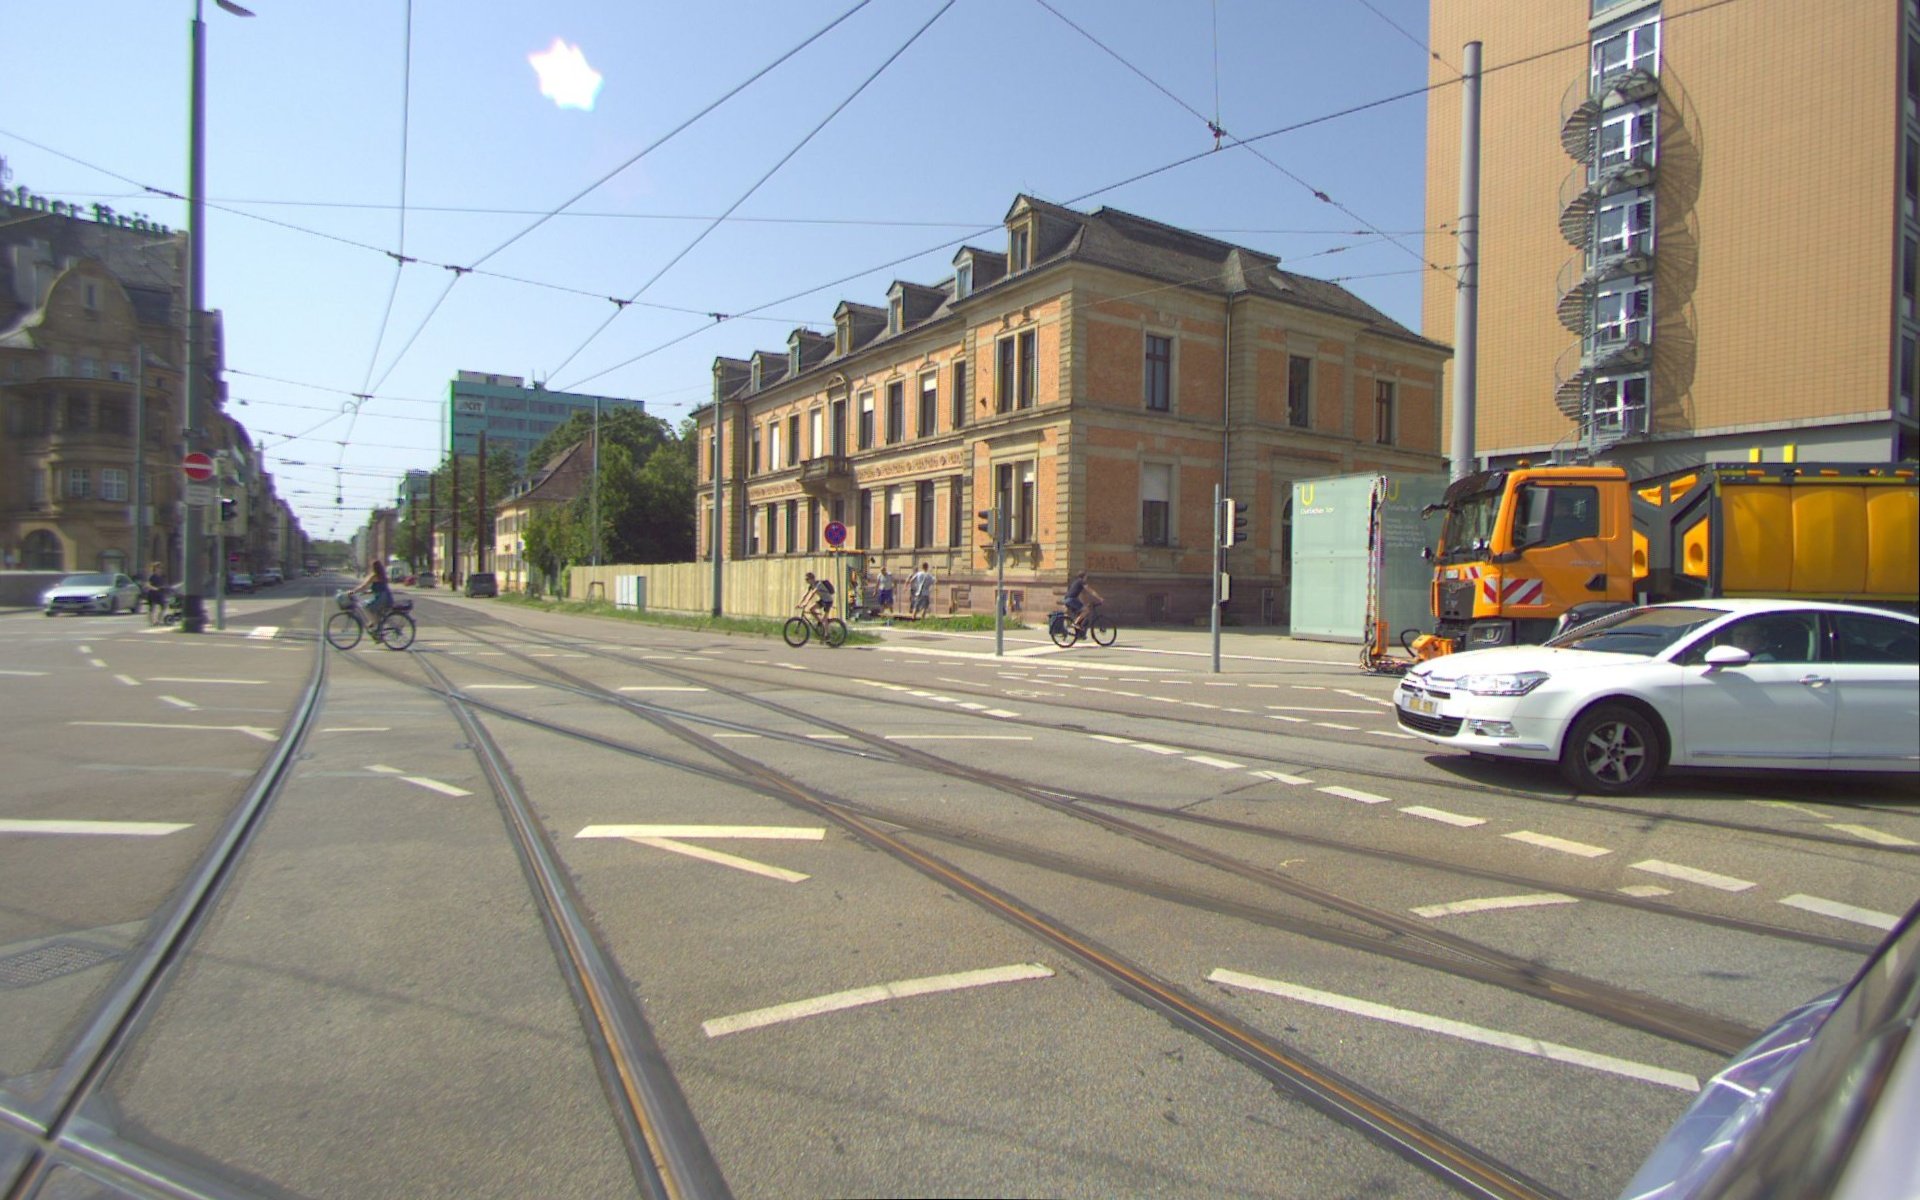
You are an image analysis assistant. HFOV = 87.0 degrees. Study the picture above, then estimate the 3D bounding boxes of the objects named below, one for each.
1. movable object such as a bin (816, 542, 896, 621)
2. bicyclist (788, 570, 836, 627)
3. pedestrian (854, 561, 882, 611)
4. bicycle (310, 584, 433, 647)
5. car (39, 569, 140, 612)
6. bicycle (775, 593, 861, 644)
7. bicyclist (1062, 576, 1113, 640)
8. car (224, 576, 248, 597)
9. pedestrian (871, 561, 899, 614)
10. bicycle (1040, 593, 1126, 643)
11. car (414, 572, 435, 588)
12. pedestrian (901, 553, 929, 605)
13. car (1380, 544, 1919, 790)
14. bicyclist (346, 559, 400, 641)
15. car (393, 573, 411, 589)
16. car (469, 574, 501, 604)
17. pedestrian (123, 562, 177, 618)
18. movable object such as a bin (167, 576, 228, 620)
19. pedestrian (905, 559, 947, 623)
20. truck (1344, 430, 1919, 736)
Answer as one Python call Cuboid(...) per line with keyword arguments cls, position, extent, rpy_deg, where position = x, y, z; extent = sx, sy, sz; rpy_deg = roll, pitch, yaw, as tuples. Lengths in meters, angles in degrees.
Cuboid(cls="movable object such as a bin", position=(-3.875, -0.699, 37.026), extent=(1.780, 2.705, 4.465), rpy_deg=(0, 1, -21))
Cuboid(cls="bicyclist", position=(-3.369, -0.043, 22.976), extent=(0.846, 1.249, 1.104), rpy_deg=(0, 1, -20))
Cuboid(cls="pedestrian", position=(-3.120, -0.478, 34.188), extent=(0.679, 1.693, 0.678), rpy_deg=(1, 1, 26))
Cuboid(cls="bicycle", position=(-11.110, 0.292, 19.118), extent=(2.089, 1.125, 0.441), rpy_deg=(1, 1, 2))
Cuboid(cls="car", position=(-29.343, -0.297, 34.226), extent=(1.555, 1.305, 3.733), rpy_deg=(-1, -1, -24))
Cuboid(cls="bicycle", position=(-3.243, 0.409, 23.069), extent=(1.816, 1.125, 0.714), rpy_deg=(0, 1, -21))
Cuboid(cls="bicyclist", position=(2.944, 0.170, 23.495), extent=(0.910, 1.441, 0.805), rpy_deg=(1, 1, -16))
Cuboid(cls="car", position=(-52.463, -0.961, 73.334), extent=(1.349, 1.416, 3.256), rpy_deg=(0, -1, -34))
Cuboid(cls="pedestrian", position=(-2.442, -0.401, 32.974), extent=(0.679, 1.693, 0.678), rpy_deg=(1, 1, 26))
Cuboid(cls="bicycle", position=(2.848, 0.416, 23.466), extent=(1.916, 1.140, 0.473), rpy_deg=(1, 1, -12))
Cuboid(cls="car", position=(-60.121, -2.264, 113.585), extent=(1.960, 1.705, 4.004), rpy_deg=(0, -1, -29))
Cuboid(cls="pedestrian", position=(-1.496, -0.708, 33.493), extent=(0.679, 1.693, 0.678), rpy_deg=(1, 1, 26))
Cuboid(cls="car", position=(5.985, 0.499, 8.021), extent=(4.517, 1.639, 1.771), rpy_deg=(2, -1, 1))
Cuboid(cls="bicyclist", position=(-11.096, -0.007, 19.148), extent=(0.632, 1.500, 0.658), rpy_deg=(1, 1, 2))
Cuboid(cls="car", position=(-70.538, -2.341, 127.954), extent=(1.960, 1.928, 4.004), rpy_deg=(0, -1, -29))
Cuboid(cls="car", position=(-34.284, -0.774, 73.001), extent=(1.959, 2.039, 4.006), rpy_deg=(0, -1, -26))
Cuboid(cls="pedestrian", position=(-20.267, -0.256, 25.333), extent=(0.799, 1.368, 0.721), rpy_deg=(1, 1, -13))
Cuboid(cls="movable object such as a bin", position=(-19.132, -0.046, 25.398), extent=(1.026, 1.099, 0.815), rpy_deg=(0, -1, 21))
Cuboid(cls="pedestrian", position=(-0.994, -0.276, 29.755), extent=(1.029, 1.836, 0.678), rpy_deg=(1, 1, 26))
Cuboid(cls="truck", position=(8.833, -0.175, 12.624), extent=(7.076, 3.270, 3.032), rpy_deg=(0, -1, 11))
